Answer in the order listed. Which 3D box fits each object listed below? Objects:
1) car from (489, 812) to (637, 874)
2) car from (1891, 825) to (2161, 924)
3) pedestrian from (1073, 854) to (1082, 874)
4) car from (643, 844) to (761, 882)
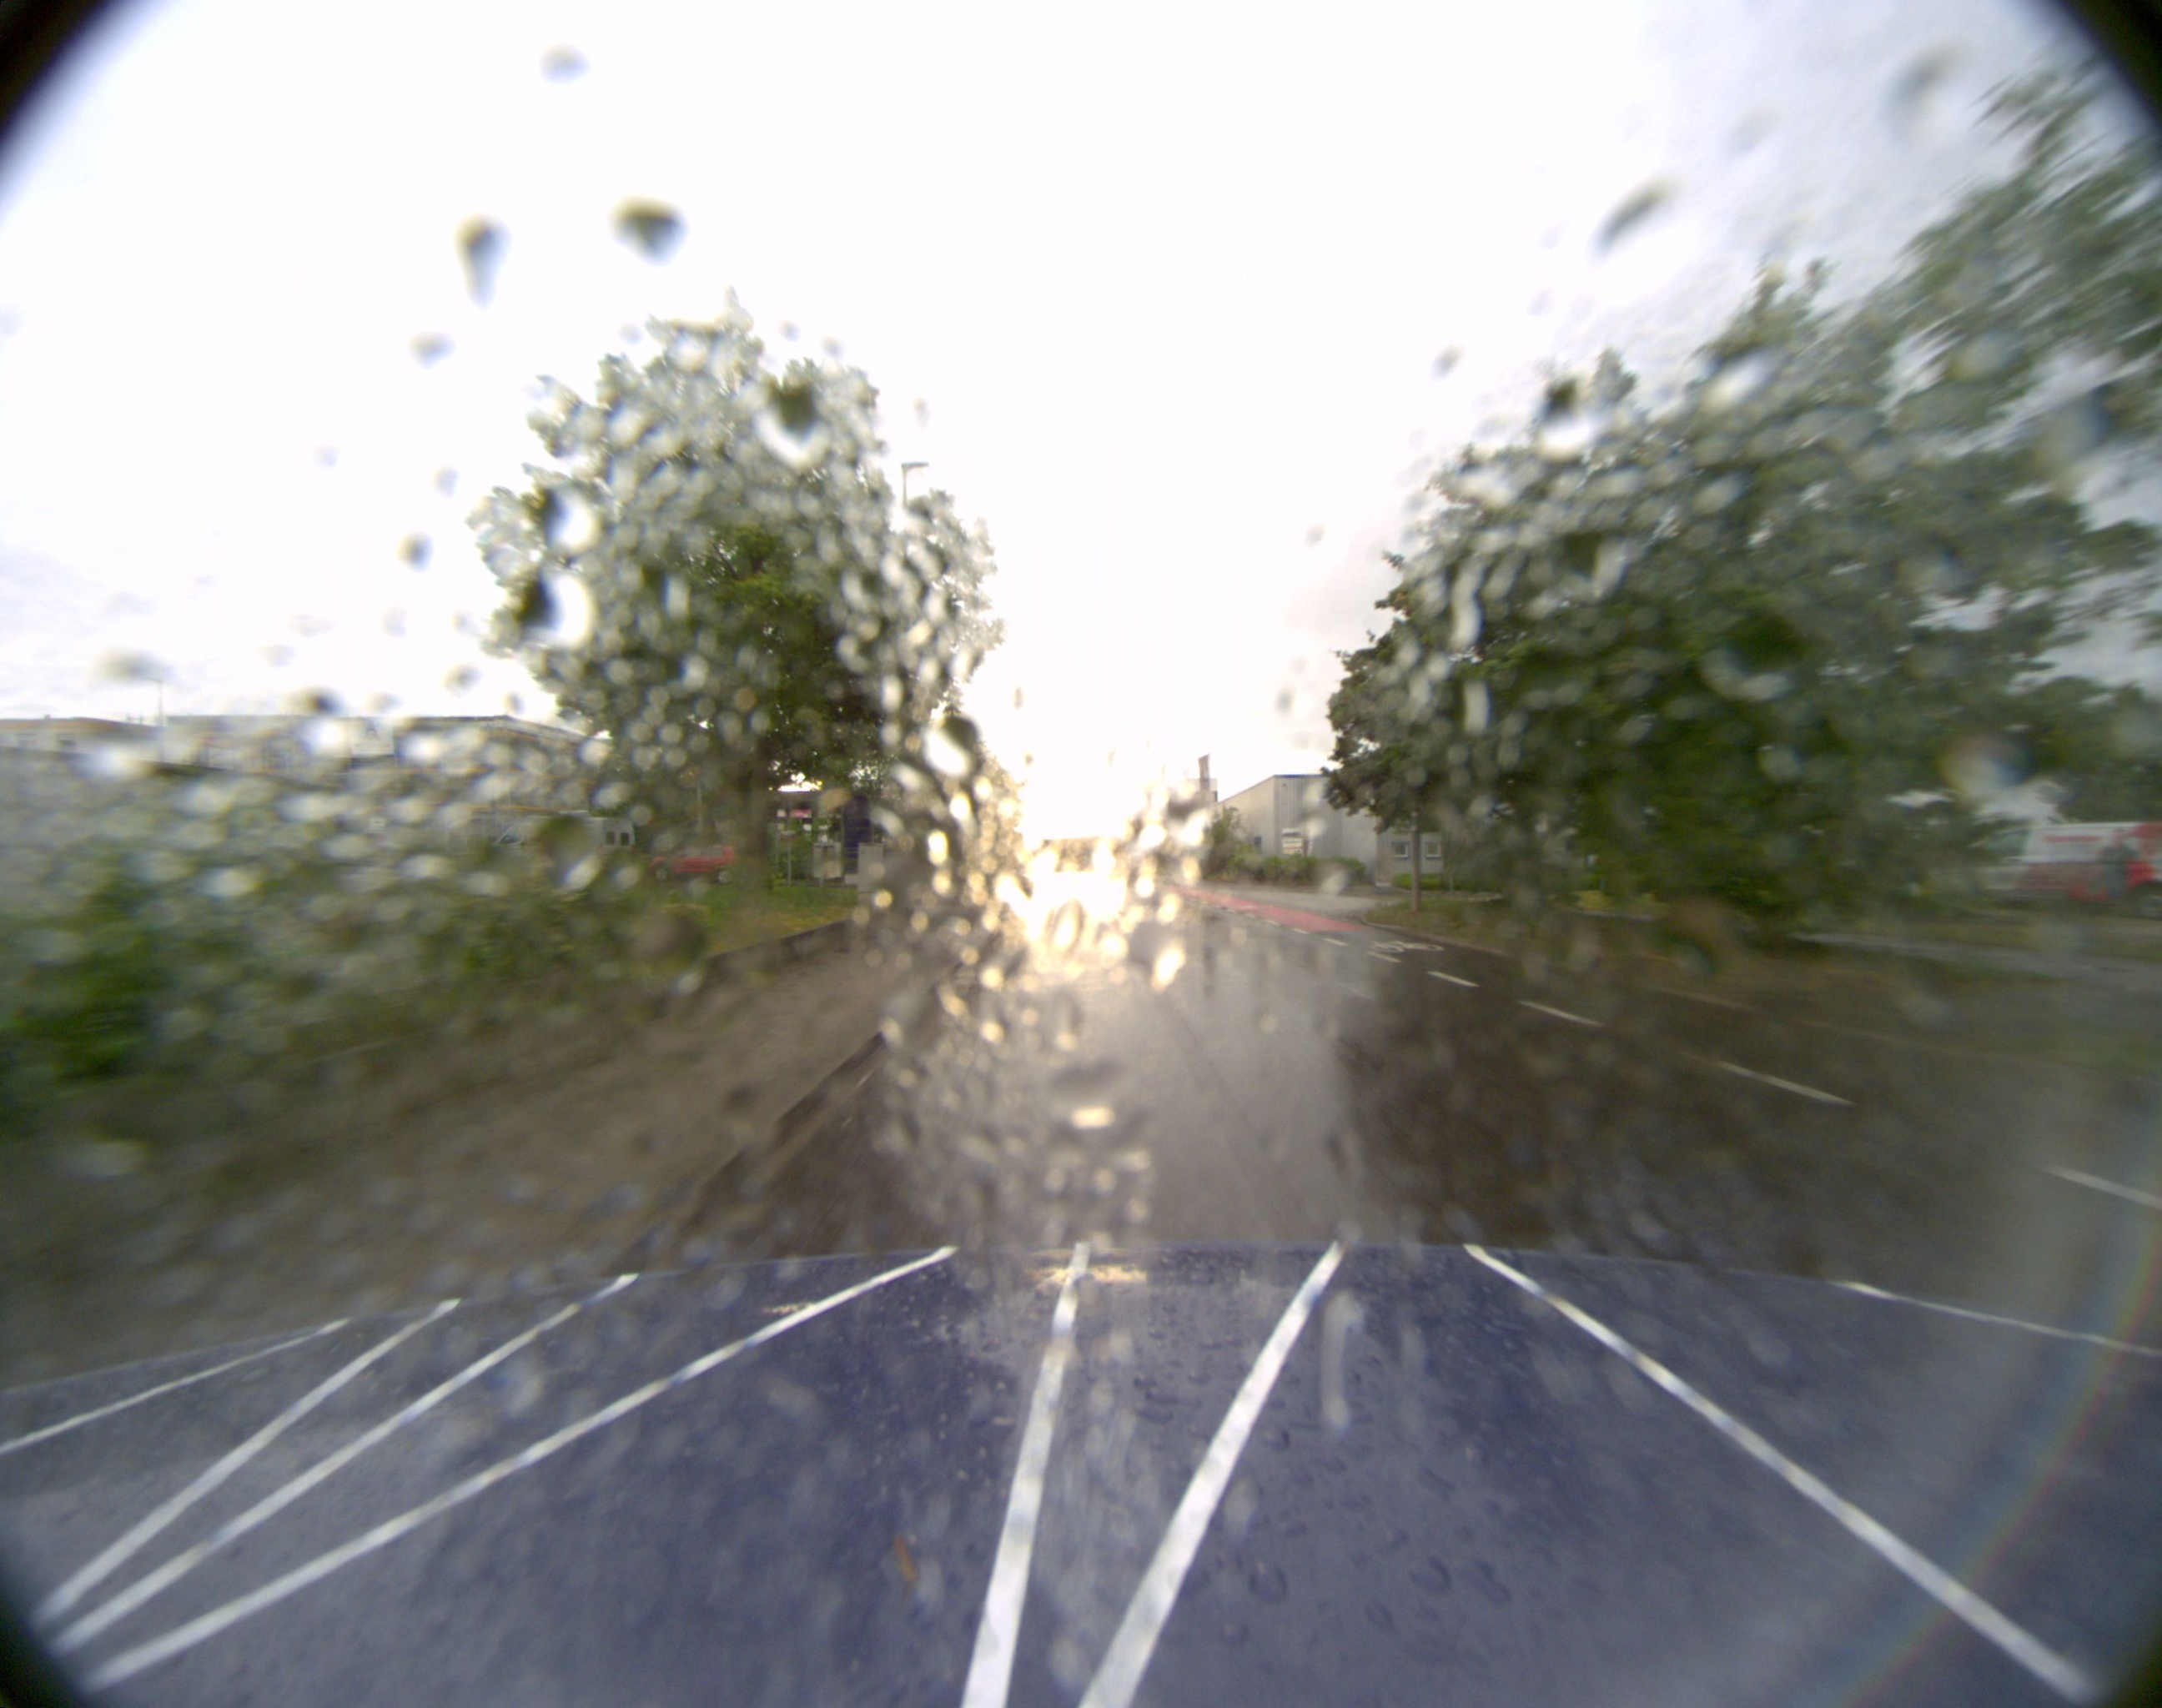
[{"bbox_3d":[-21.241,-0.424,31.260,4.912,2.423,2.001,0,0,7],"label":"car"},{"bbox_3d":[20.875,0.372,15.812,2.039,1.811,5.609,-2,-1,0],"label":"car"},{"bbox_3d":[-0.328,0.916,71.398,0.747,1.827,0.889,0,0,-7],"label":"pedestrian"},{"bbox_3d":[-15.408,0.380,31.038,3.890,1.490,1.768,0,0,-1],"label":"car"}]
